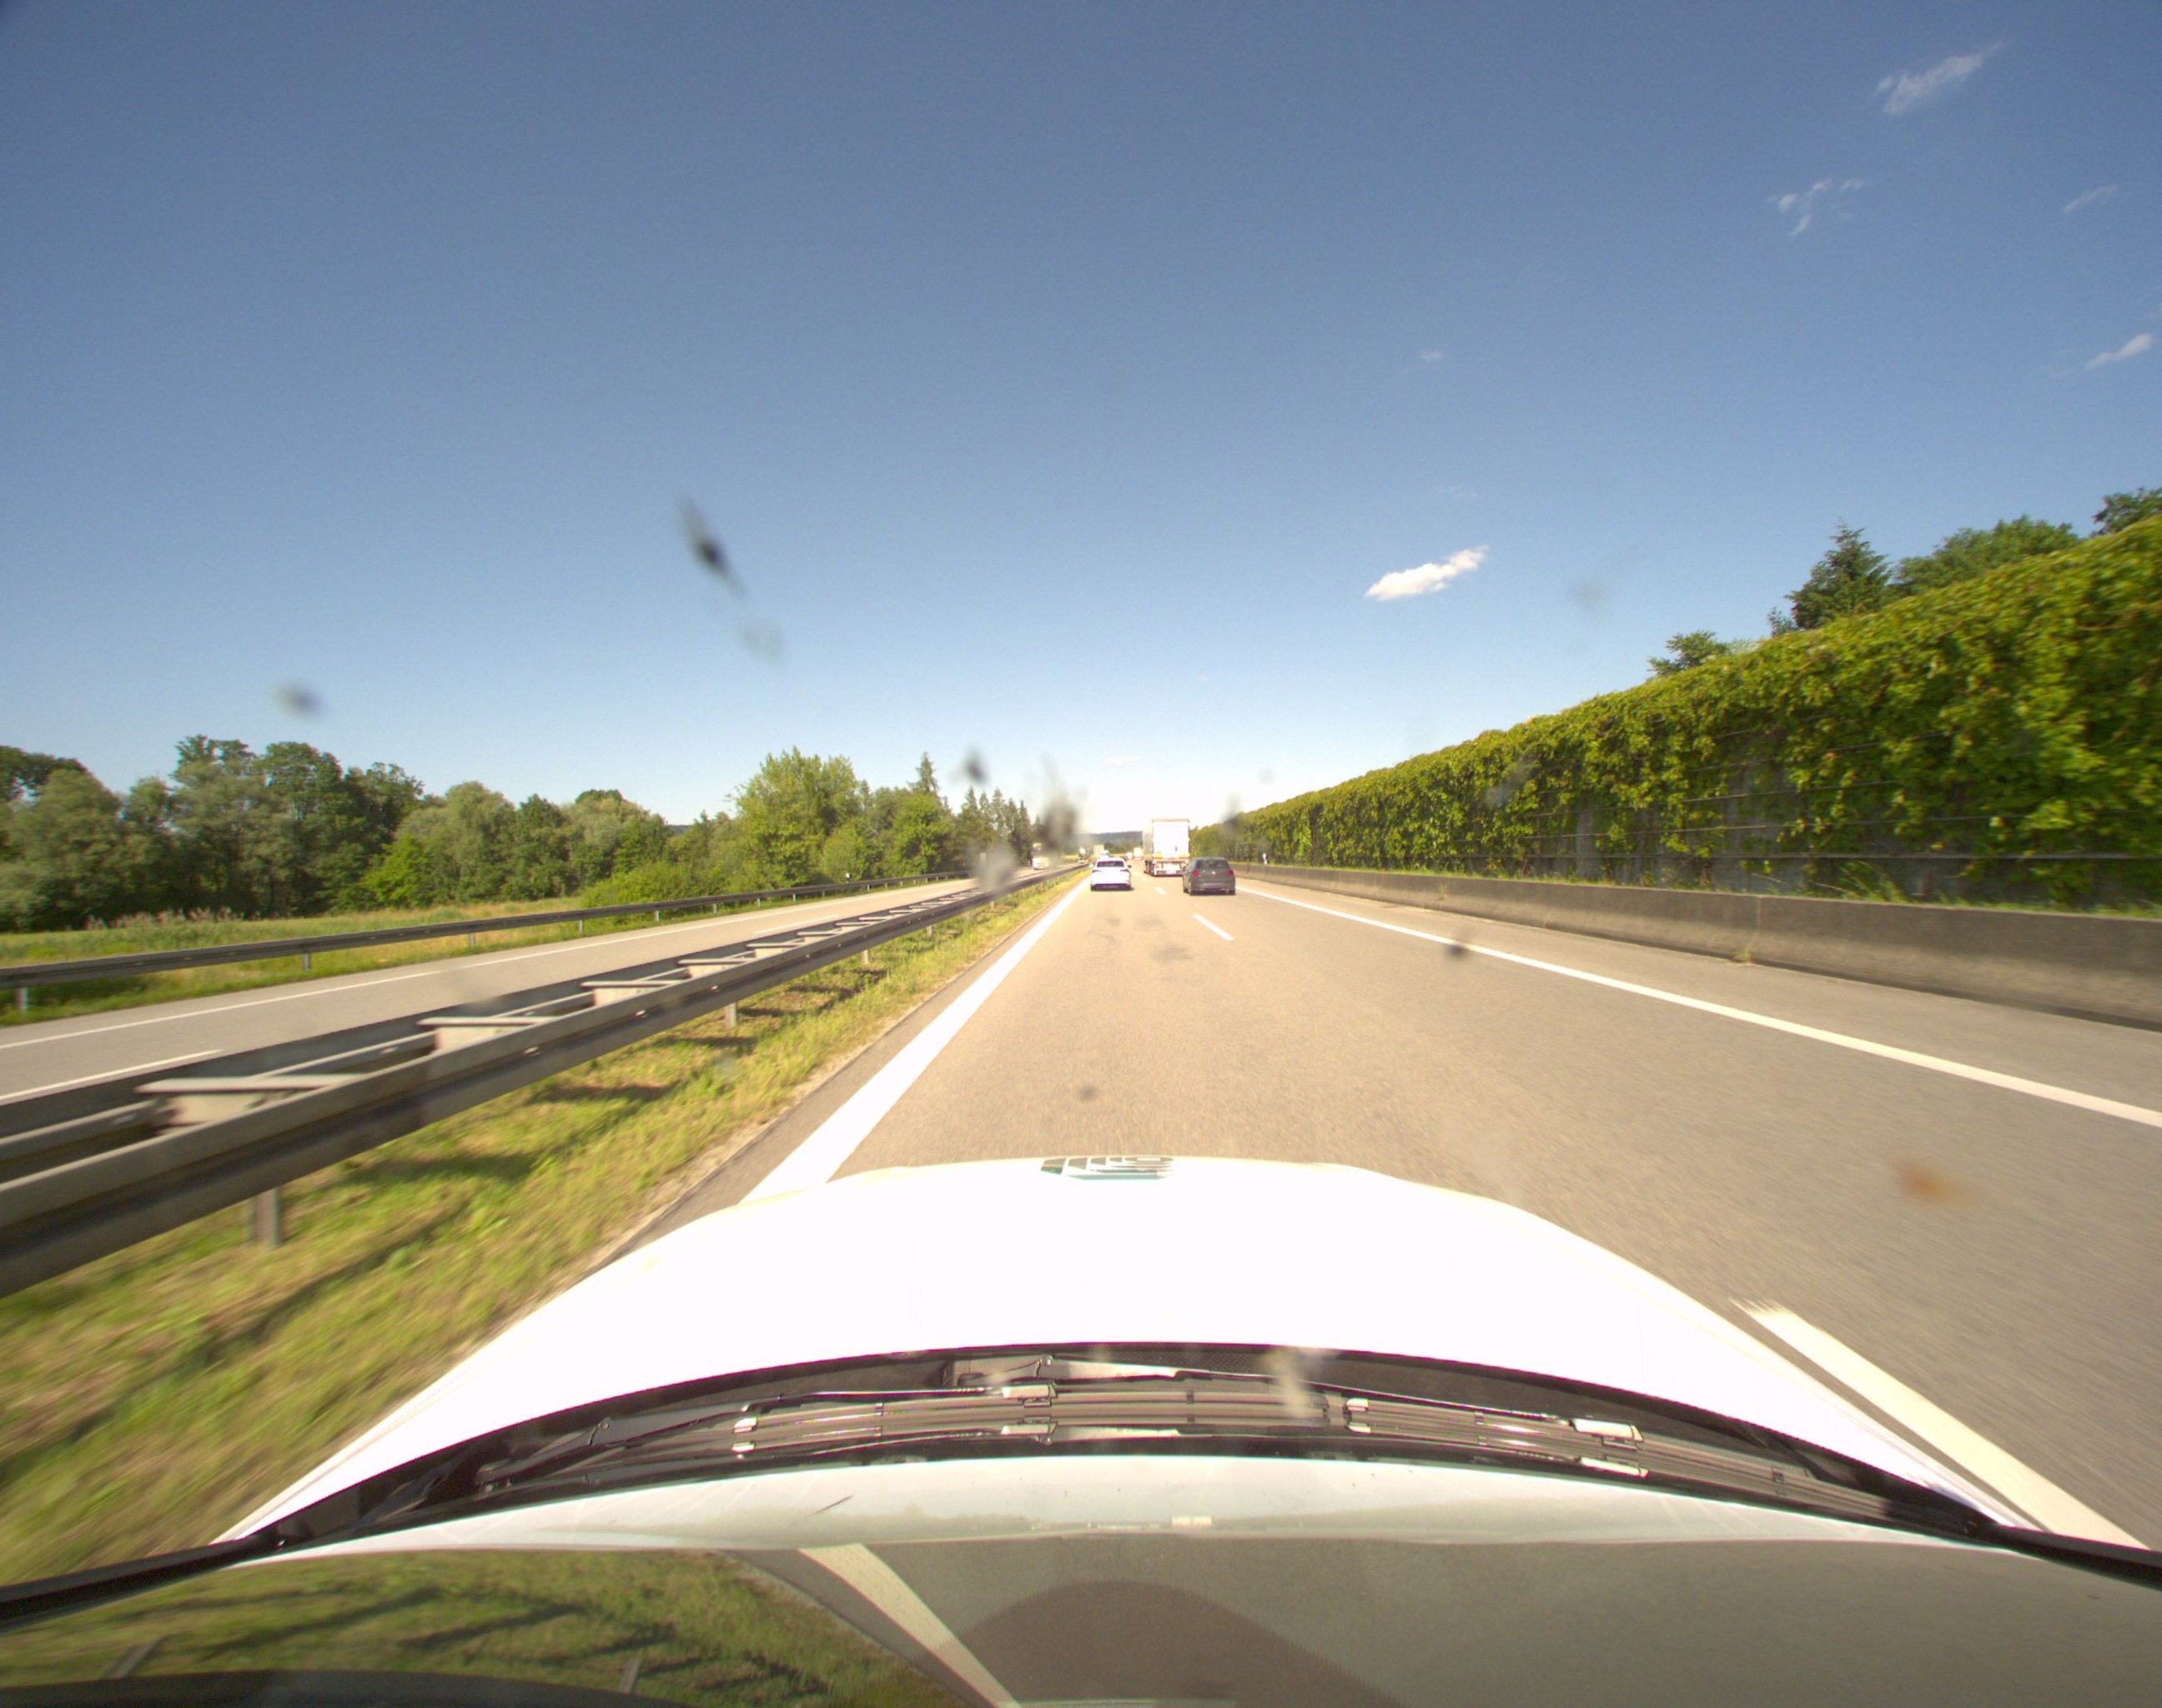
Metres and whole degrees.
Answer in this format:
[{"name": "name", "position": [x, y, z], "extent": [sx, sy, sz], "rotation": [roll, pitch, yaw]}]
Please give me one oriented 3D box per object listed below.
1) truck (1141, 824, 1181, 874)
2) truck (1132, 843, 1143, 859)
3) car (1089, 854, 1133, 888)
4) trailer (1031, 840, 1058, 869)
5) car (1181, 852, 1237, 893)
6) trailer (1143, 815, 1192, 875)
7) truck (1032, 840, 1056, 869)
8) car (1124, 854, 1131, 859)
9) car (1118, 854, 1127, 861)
[{"name": "truck", "position": [6.772, -0.399, 69.651], "extent": [2.829, 3.966, 7.048], "rotation": [-3, 0, 2]}, {"name": "truck", "position": [17.459, -0.946, 253.610], "extent": [3.139, 4.612, 8.912], "rotation": [-2, 0, 3]}, {"name": "car", "position": [1.368, 0.728, 37.122], "extent": [1.833, 1.421, 5.257], "rotation": [-1, 0, 2]}, {"name": "trailer", "position": [-5.491, 0.046, 125.012], "extent": [2.651, 4.008, 14.094], "rotation": [-3, 0, 2]}, {"name": "car", "position": [4.929, 0.674, 31.826], "extent": [1.659, 1.454, 4.547], "rotation": [-1, 0, 2]}, {"name": "trailer", "position": [6.494, -0.612, 62.961], "extent": [2.807, 3.966, 14.171], "rotation": [-3, 0, 3]}, {"name": "truck", "position": [-5.450, 0.025, 121.529], "extent": [2.633, 4.008, 7.197], "rotation": [-3, 0, 2]}, {"name": "car", "position": [14.600, 0.730, 255.183], "extent": [1.763, 1.421, 4.370], "rotation": [-1, 0, 5]}, {"name": "car", "position": [9.112, 0.806, 178.598], "extent": [1.764, 1.421, 4.497], "rotation": [-1, 0, 2]}]
